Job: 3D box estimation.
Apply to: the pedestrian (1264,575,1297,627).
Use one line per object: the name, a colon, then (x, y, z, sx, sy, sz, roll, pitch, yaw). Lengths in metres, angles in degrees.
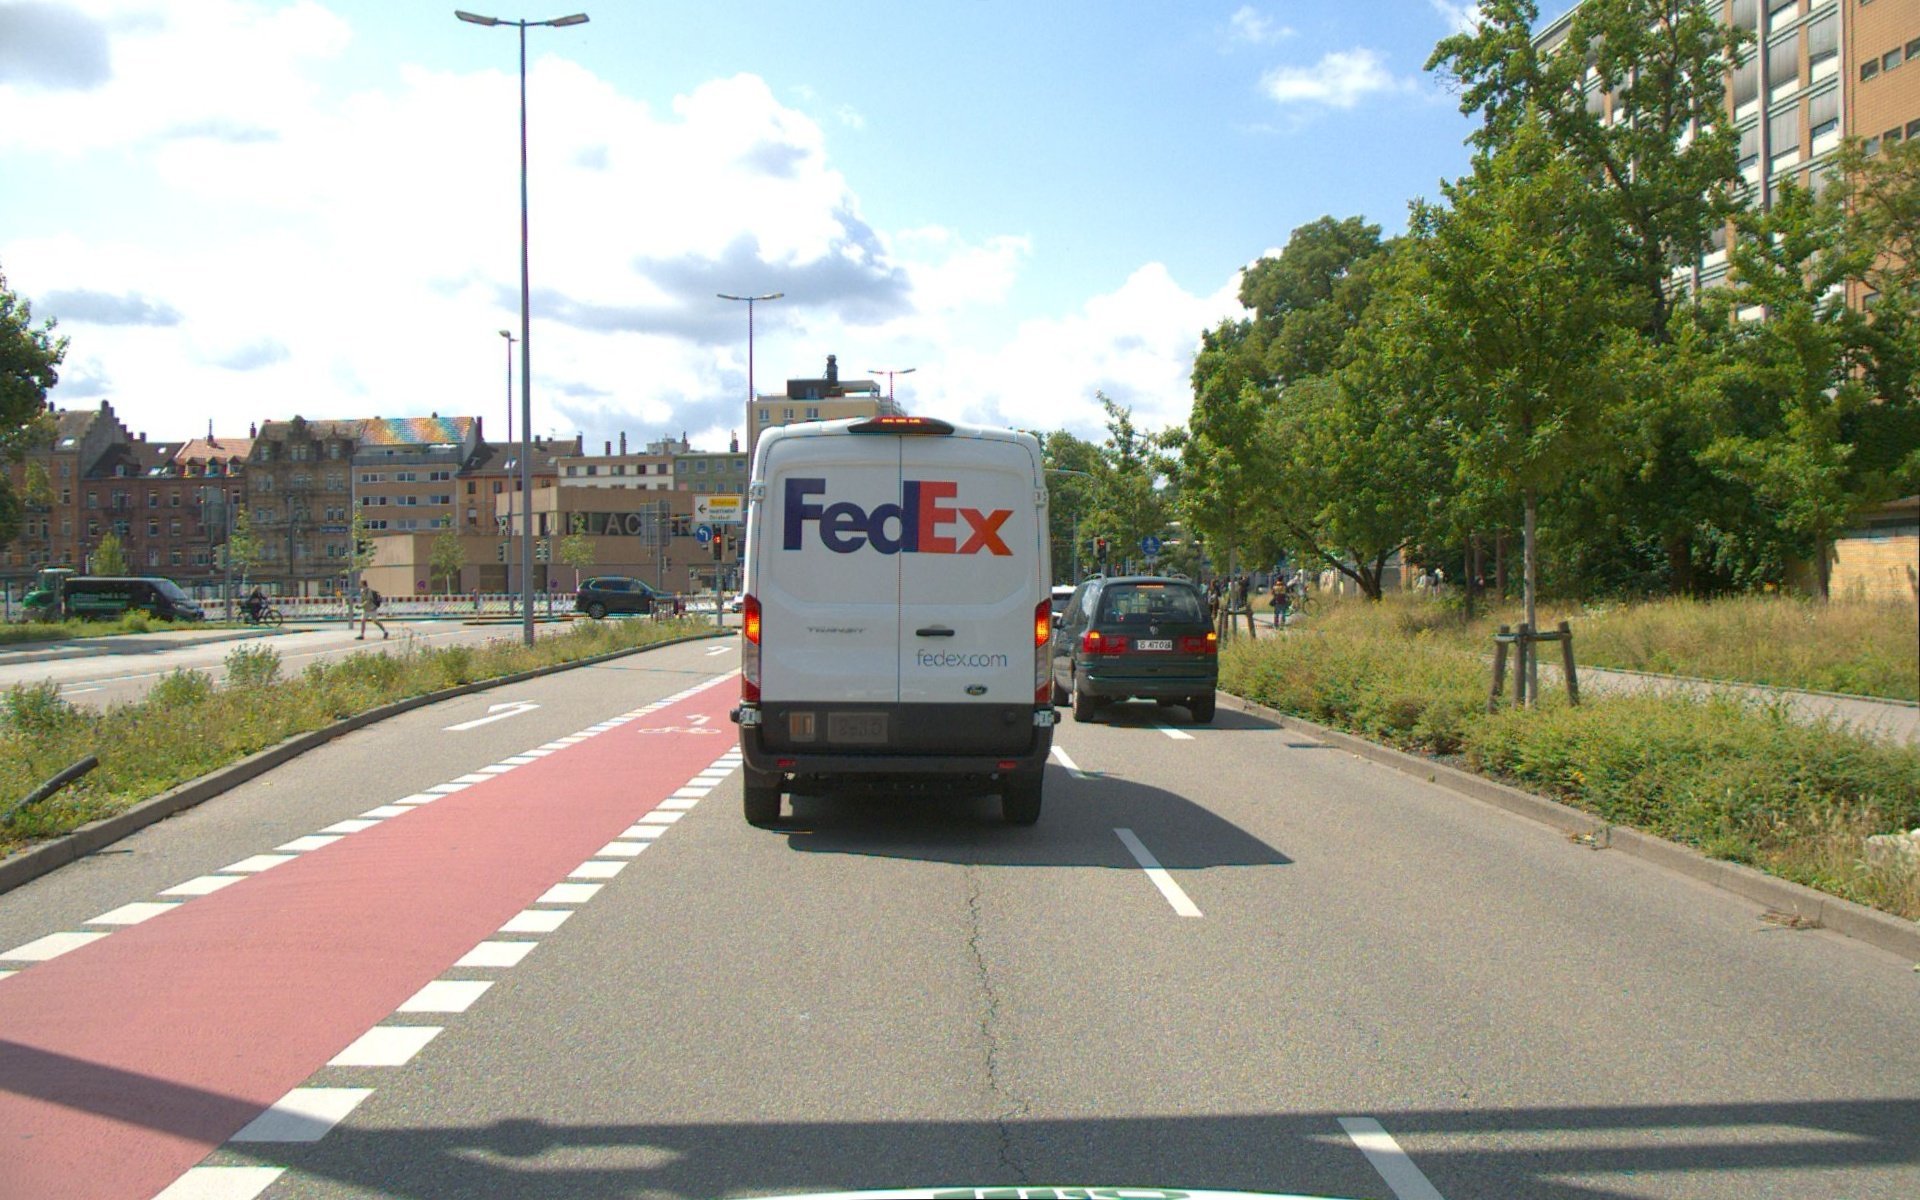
pedestrian: (9.702, 0.022, 50.098, 0.828, 1.565, 0.835, -1, 0, -2)

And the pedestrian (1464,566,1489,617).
pedestrian: (21.132, -0.352, 67.664, 0.828, 2.094, 0.740, 0, 0, 26)

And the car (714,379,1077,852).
car: (-0.643, 0.077, 12.389, 2.099, 2.699, 5.697, 0, 0, -6)

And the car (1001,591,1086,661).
car: (1.858, 0.549, 37.867, 1.761, 1.486, 3.838, 0, 1, 0)

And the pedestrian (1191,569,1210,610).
pedestrian: (11.514, -0.509, 79.203, 0.667, 1.925, 0.572, 0, 0, 42)

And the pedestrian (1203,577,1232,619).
pedestrian: (8.891, -0.078, 57.136, 0.828, 1.413, 0.740, -1, 0, -2)

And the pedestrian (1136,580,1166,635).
pedestrian: (6.748, 0.244, 58.422, 0.931, 1.925, 0.773, 0, 0, -2)

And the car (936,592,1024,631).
car: (0.988, 0.535, 80.249, 1.963, 1.825, 4.348, -1, 0, 40)

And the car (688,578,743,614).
car: (-14.562, -0.234, 98.803, 1.951, 2.049, 4.003, -1, 0, 12)

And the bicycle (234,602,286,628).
bicycle: (-29.081, 0.628, 68.728, 1.885, 1.048, 0.547, -1, 0, -9)

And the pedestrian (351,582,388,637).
pedestrian: (-17.045, 0.269, 47.734, 0.869, 1.587, 0.546, -1, 1, -44)

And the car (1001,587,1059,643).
car: (1.878, 0.373, 45.165, 1.454, 1.453, 3.433, 0, 1, 0)

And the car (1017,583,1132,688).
car: (1.955, 0.565, 29.339, 1.761, 1.717, 4.000, 0, 1, 0)

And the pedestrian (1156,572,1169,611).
pedestrian: (10.011, -0.442, 81.795, 0.562, 1.925, 0.679, 0, 0, -2)

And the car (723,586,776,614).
car: (-12.451, 0.009, 98.194, 1.860, 1.613, 4.003, -1, 0, 12)

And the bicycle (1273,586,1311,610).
bicycle: (13.863, -0.091, 69.065, 1.537, 0.972, 0.486, 0, 0, 17)

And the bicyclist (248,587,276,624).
bicyclist: (-29.000, 0.225, 68.733, 0.950, 1.500, 0.550, -1, 0, -9)

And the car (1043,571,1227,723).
car: (2.151, 0.526, 21.428, 1.776, 1.764, 4.387, 0, 1, -2)

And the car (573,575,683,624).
car: (-14.482, -0.031, 72.384, 4.540, 2.049, 2.097, -1, 0, -7)

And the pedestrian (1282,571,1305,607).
pedestrian: (13.924, -0.448, 69.036, 0.880, 1.497, 0.486, 0, 0, 17)

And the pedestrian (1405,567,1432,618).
pedestrian: (19.095, -0.325, 68.911, 0.727, 2.094, 0.843, -1, 0, -18)

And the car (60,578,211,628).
car: (-32.557, 0.109, 65.407, 4.911, 1.911, 1.927, -1, 1, -5)

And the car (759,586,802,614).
car: (-11.326, 0.003, 104.423, 1.839, 1.680, 4.003, -1, 0, 6)
